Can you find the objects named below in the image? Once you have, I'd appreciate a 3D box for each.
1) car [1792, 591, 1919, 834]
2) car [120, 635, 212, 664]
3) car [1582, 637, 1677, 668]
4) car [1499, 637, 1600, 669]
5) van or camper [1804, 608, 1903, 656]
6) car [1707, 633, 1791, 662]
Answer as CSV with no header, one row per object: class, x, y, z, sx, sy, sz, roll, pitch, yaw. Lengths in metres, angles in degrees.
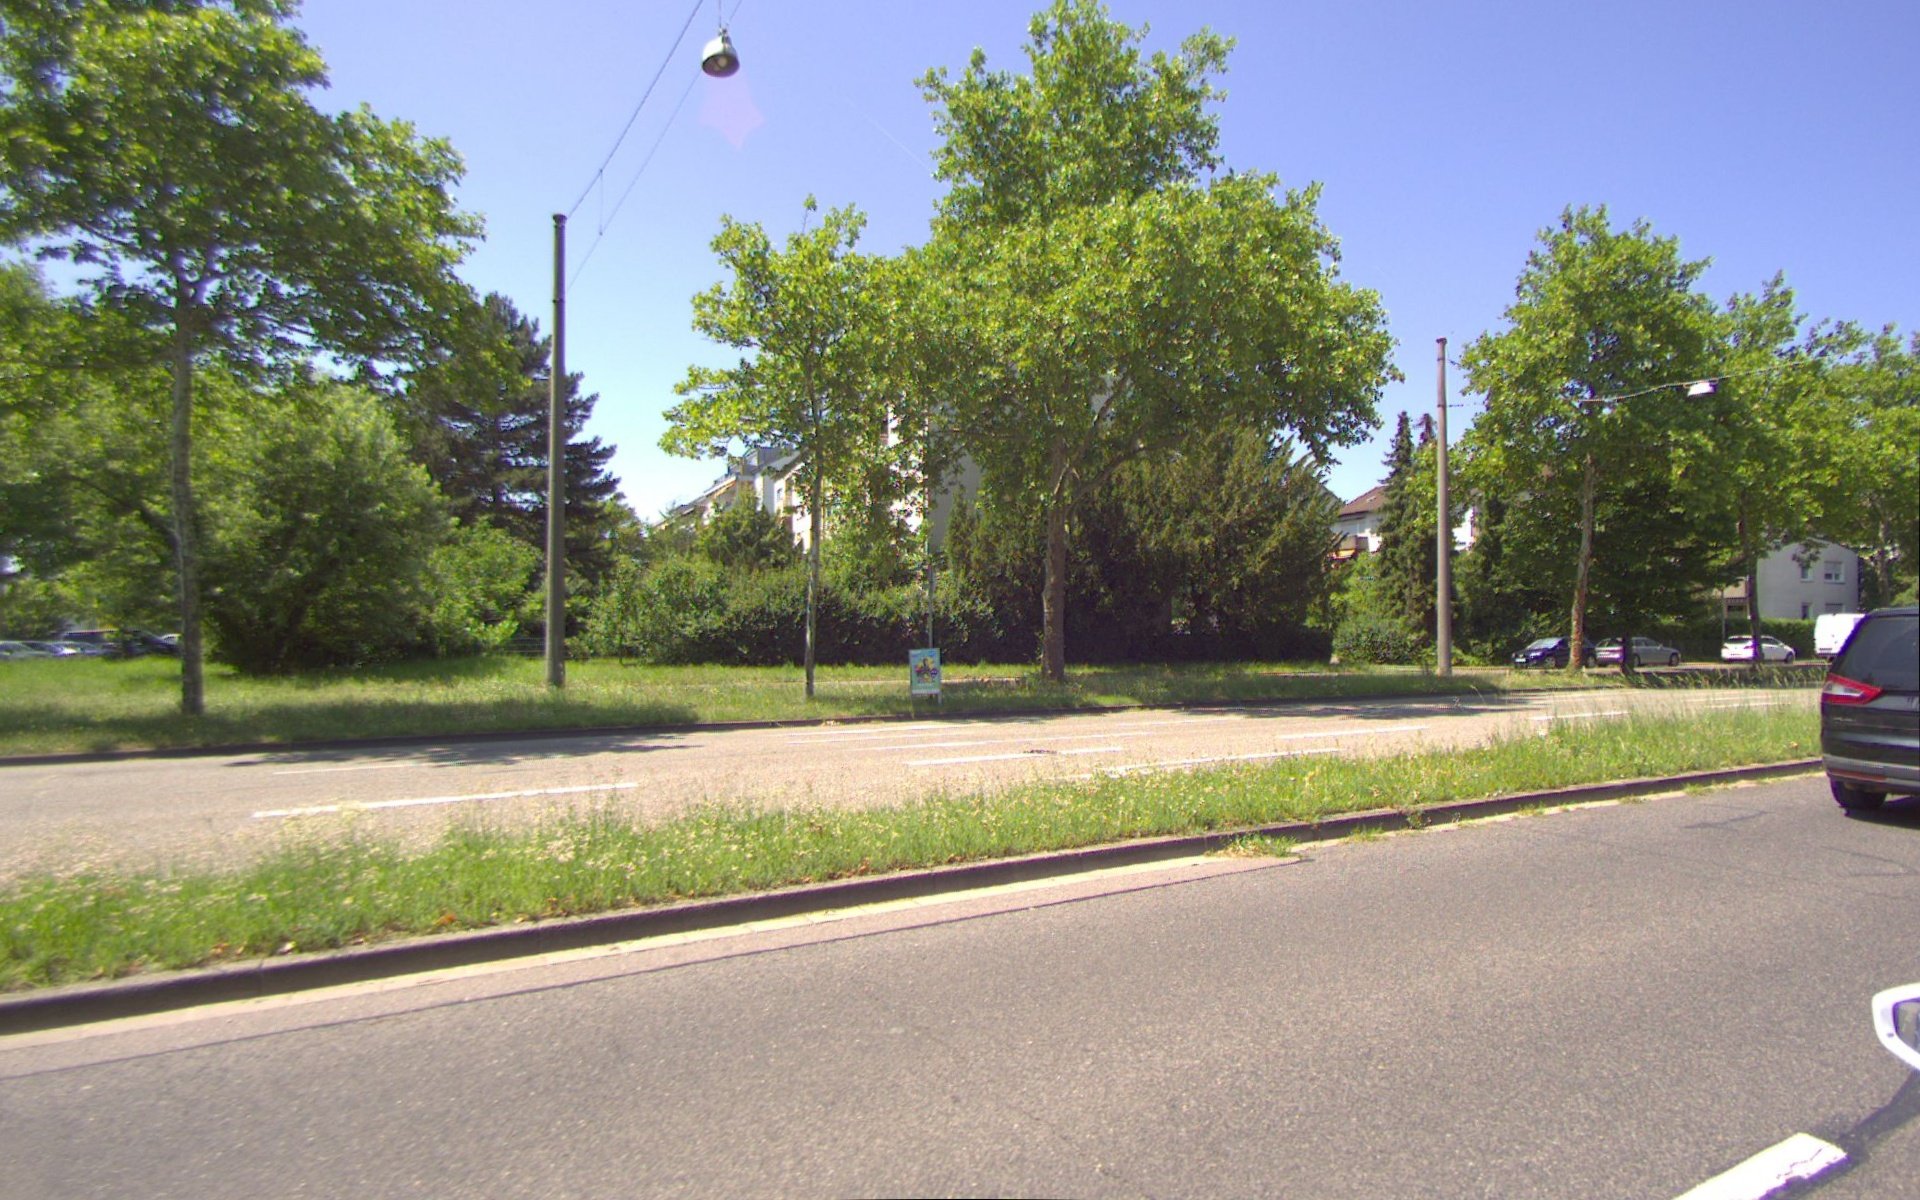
car,9.059,0.860,8.390,4.595,1.779,1.845,1,-1,-31
car,-44.817,2.780,56.780,3.704,1.630,1.620,1,-2,-16
car,32.403,2.521,48.614,3.940,1.394,1.879,1,-2,-21
car,27.307,2.441,46.558,3.936,1.411,1.881,1,-2,-18
van or camper,50.072,1.792,56.281,5.234,2.621,2.177,1,-2,-24
car,41.313,2.455,52.586,3.945,1.494,1.876,1,-2,-25
